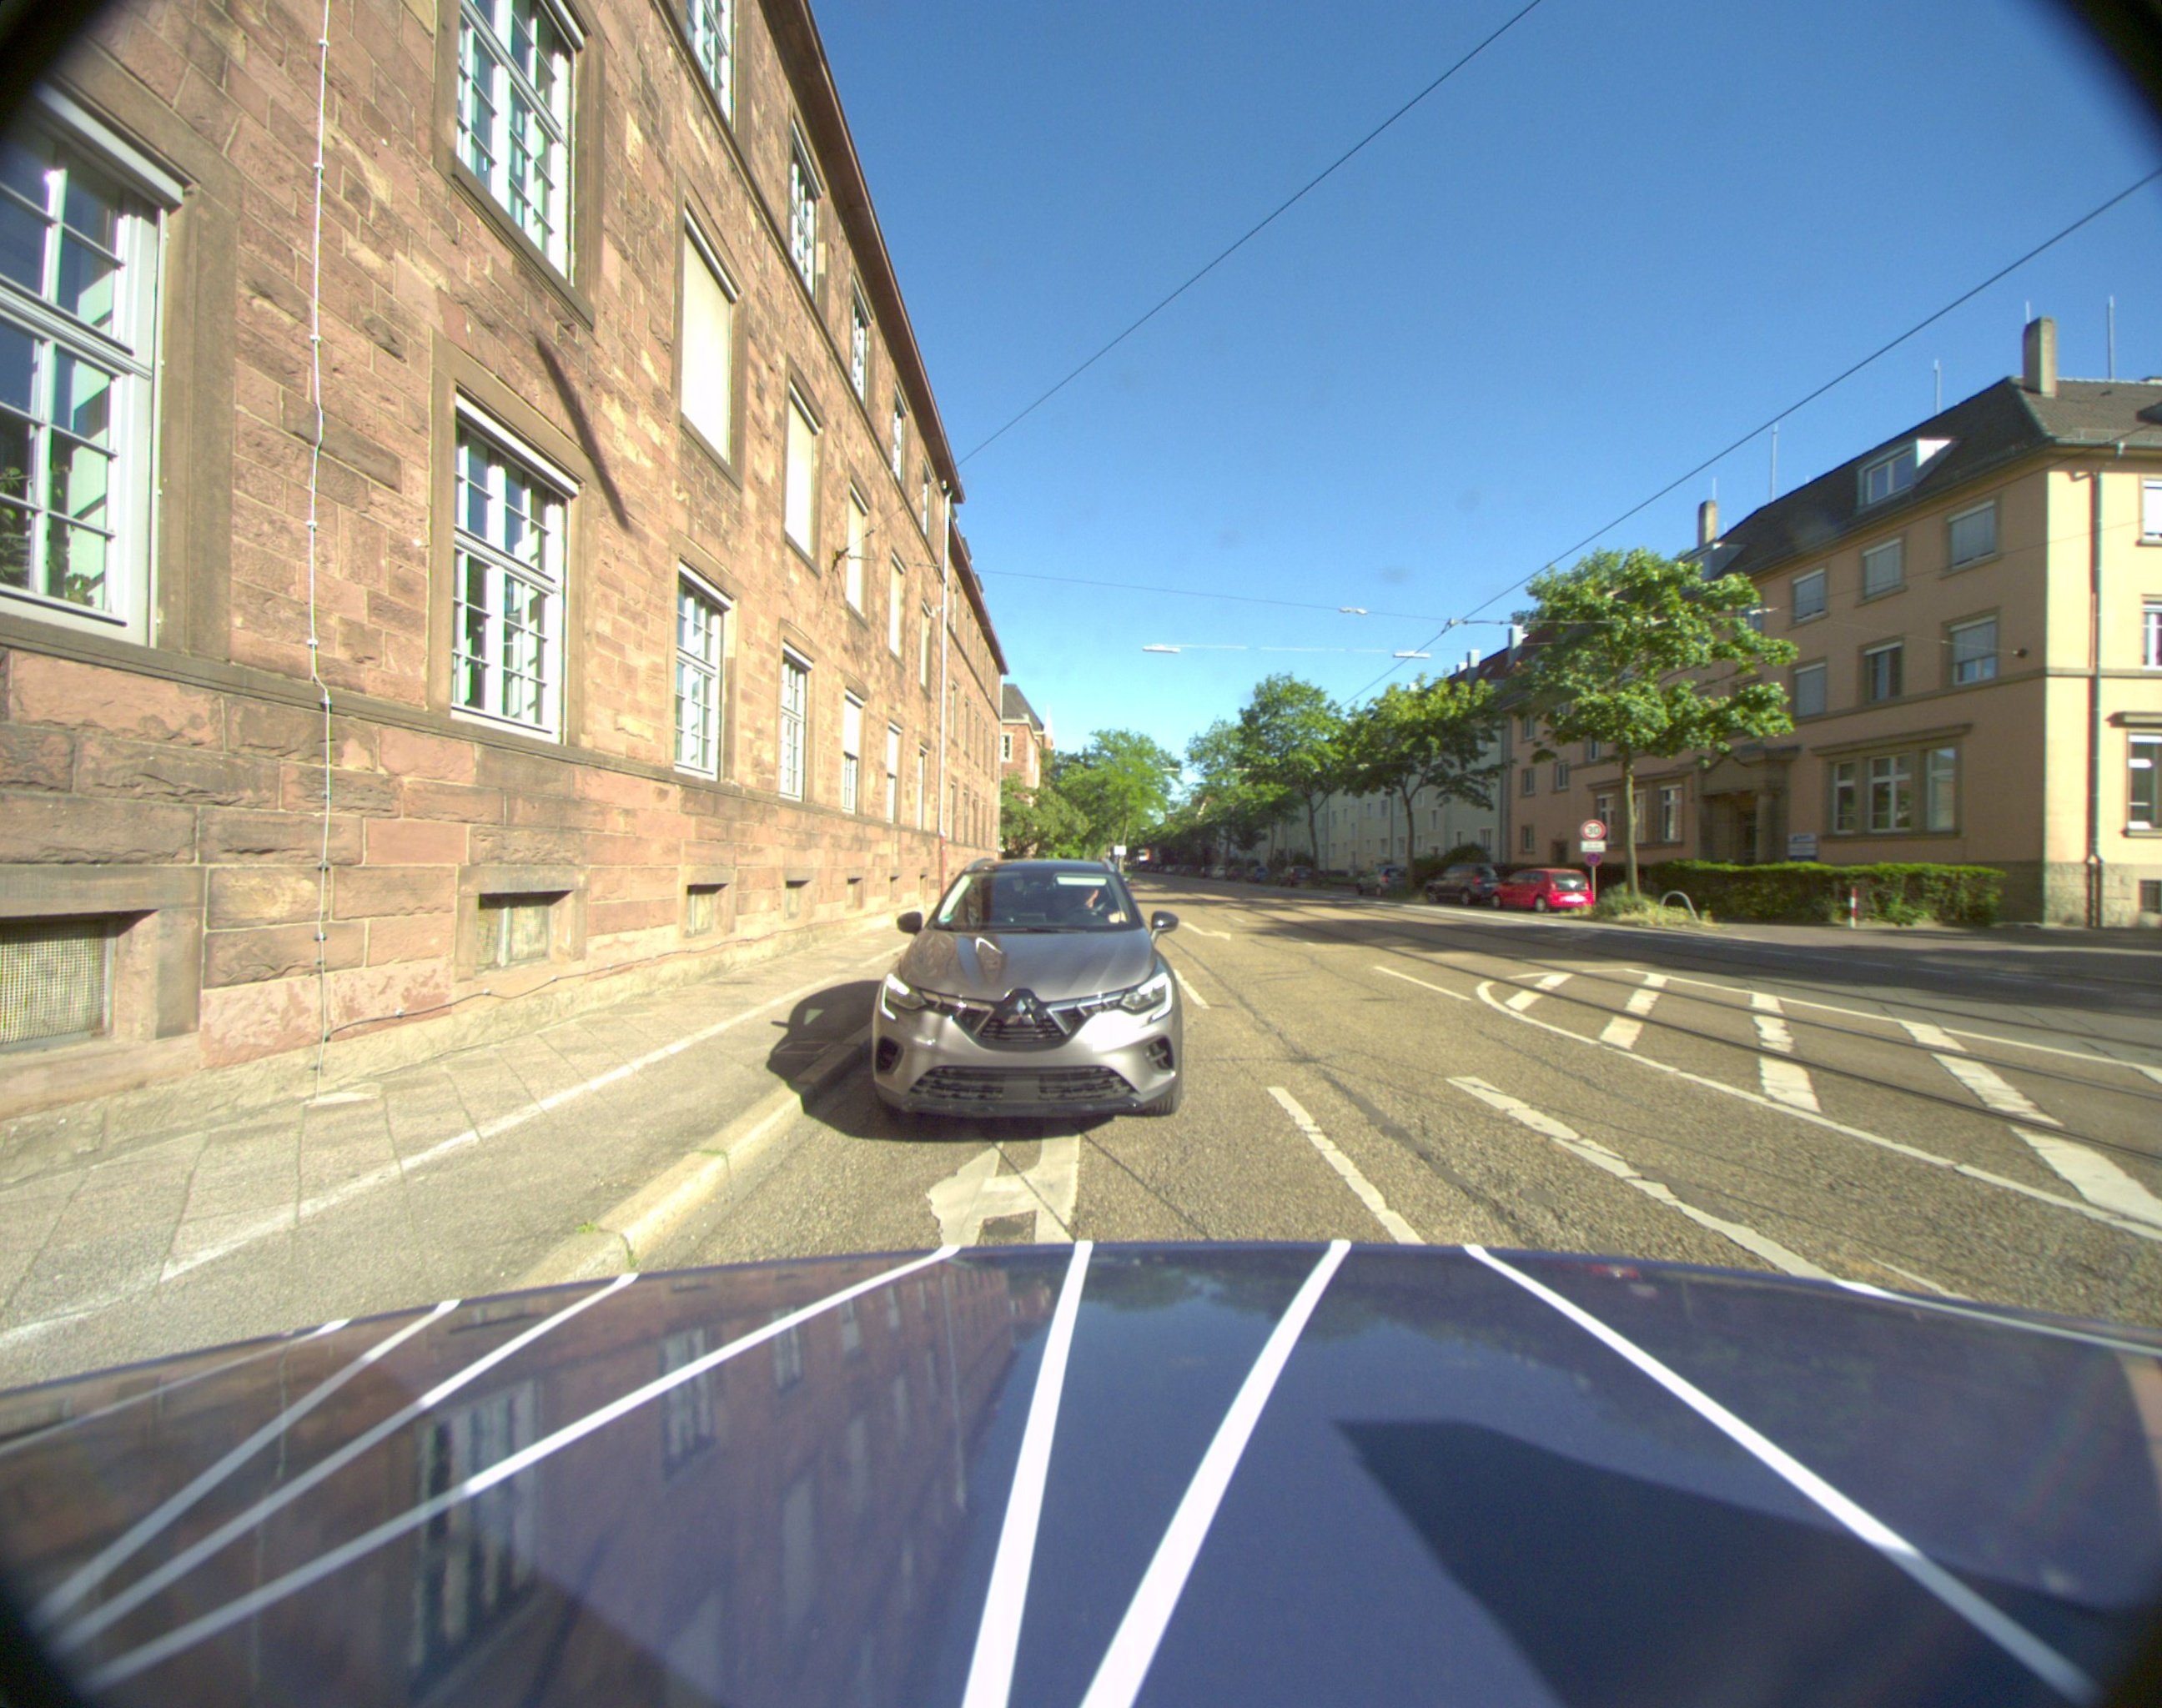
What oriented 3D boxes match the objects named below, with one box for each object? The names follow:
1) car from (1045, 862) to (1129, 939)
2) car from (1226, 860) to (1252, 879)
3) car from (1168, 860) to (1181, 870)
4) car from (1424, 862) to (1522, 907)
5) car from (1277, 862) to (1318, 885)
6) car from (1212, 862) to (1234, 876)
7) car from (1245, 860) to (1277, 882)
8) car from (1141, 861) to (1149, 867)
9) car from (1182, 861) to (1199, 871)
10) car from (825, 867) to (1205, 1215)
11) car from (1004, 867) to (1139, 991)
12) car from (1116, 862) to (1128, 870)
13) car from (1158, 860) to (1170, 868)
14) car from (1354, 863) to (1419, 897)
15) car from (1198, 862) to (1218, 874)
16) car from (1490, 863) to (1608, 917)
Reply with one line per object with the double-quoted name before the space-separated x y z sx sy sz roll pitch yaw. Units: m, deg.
"car" 0.078 1.021 18.519 1.796 1.638 4.083 0 0 -2
"car" 15.909 1.538 76.599 1.816 1.929 3.630 1 0 -2
"car" 16.599 1.952 135.266 1.816 1.768 3.630 1 0 -2
"car" 15.650 1.177 30.575 1.816 1.648 3.819 1 0 -3
"car" 15.798 1.436 55.629 1.816 1.589 3.630 1 0 -2
"car" 16.038 1.677 85.958 1.816 1.411 3.630 1 0 -2
"car" 15.979 1.481 67.522 1.816 1.814 3.795 1 0 -2
"car" 16.085 2.414 191.226 1.816 1.411 3.630 1 0 -2
"car" 16.049 1.753 111.762 1.816 1.411 3.630 1 0 -2
"car" -0.357 0.921 5.526 1.796 1.595 3.799 0 0 -2
"car" -0.175 1.038 12.072 1.796 1.595 3.799 0 0 -2
"car" 7.549 2.219 140.795 1.912 1.510 4.000 1 0 -1
"car" 15.989 1.861 146.904 1.816 1.514 3.630 1 0 -2
"car" 15.738 1.308 39.385 1.816 1.648 3.877 1 0 1
"car" 15.854 1.765 94.885 1.816 1.411 3.630 1 0 -2
"car" 15.860 1.173 25.967 1.816 1.696 3.374 1 0 -3
